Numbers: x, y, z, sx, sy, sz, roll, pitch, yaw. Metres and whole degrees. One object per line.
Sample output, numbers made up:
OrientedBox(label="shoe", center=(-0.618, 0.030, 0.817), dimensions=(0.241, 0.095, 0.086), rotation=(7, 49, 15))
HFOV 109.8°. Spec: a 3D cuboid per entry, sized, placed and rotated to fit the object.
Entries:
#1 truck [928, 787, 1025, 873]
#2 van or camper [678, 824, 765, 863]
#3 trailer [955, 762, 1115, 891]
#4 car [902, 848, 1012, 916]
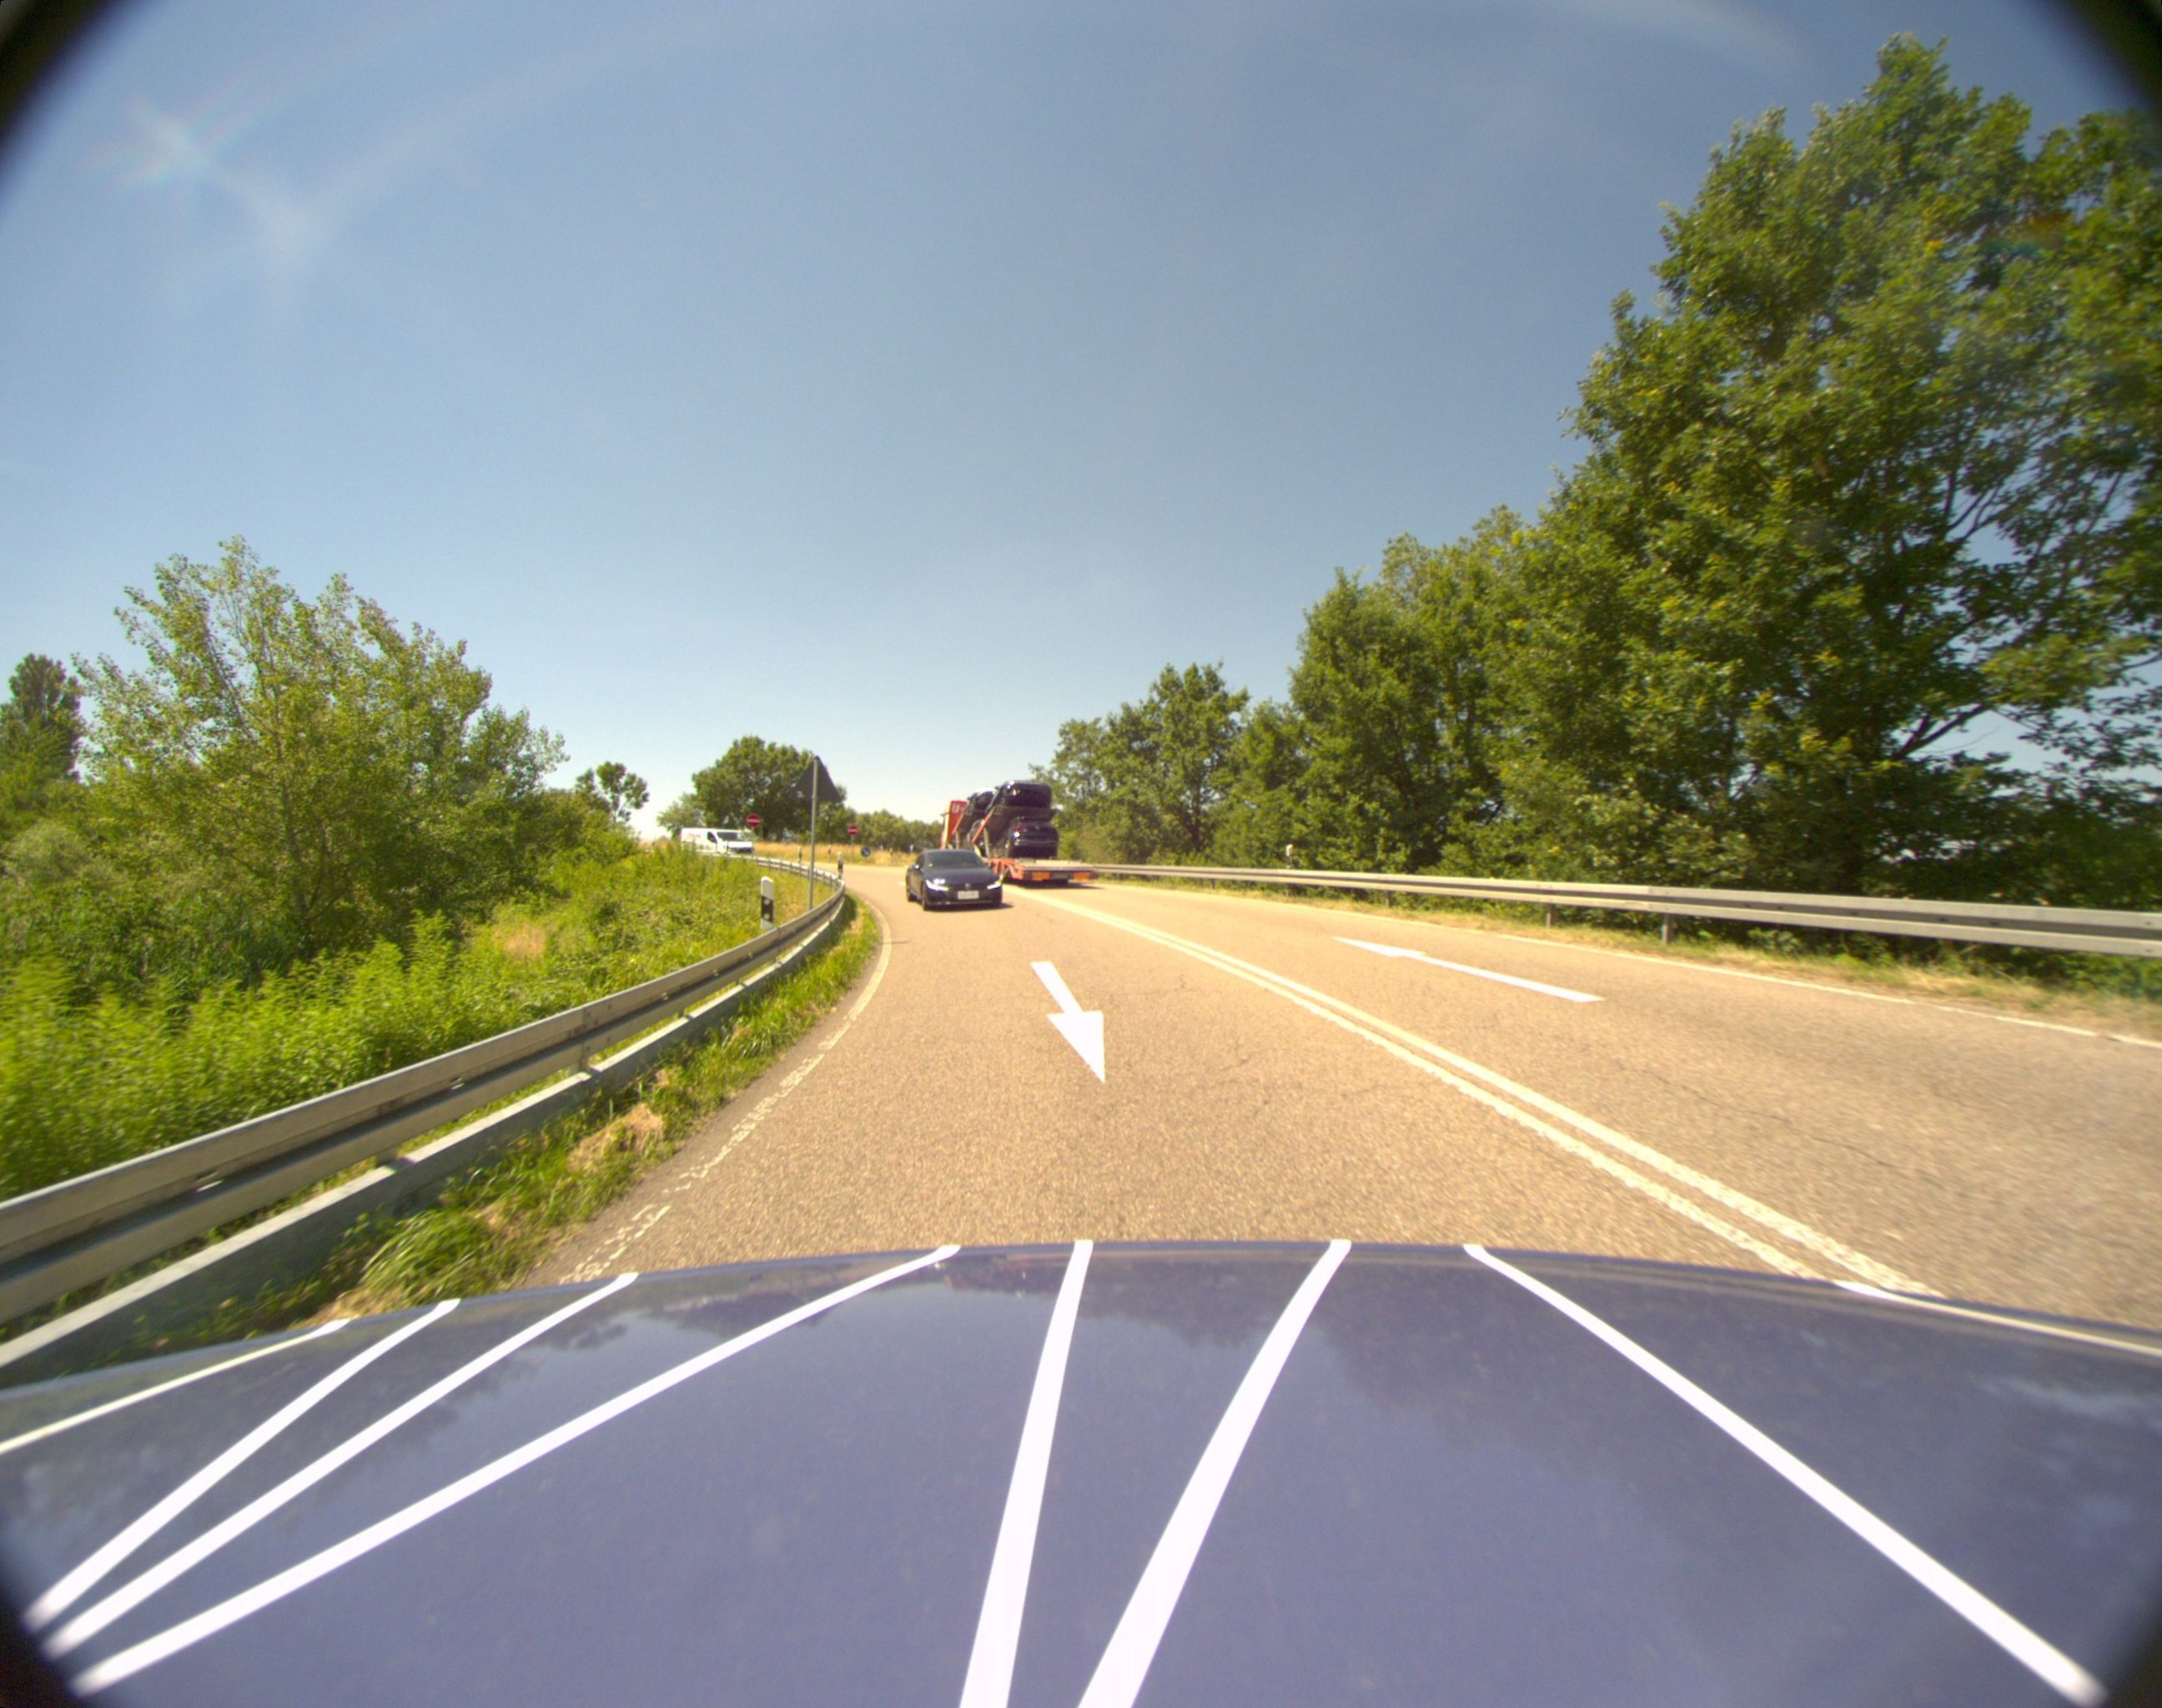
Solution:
OrientedBox(label="truck", center=(-5.562, -1.166, 38.878), dimensions=(2.801, 3.876, 8.762), rotation=(-2, 2, -22))
OrientedBox(label="van or camper", center=(-20.367, -0.563, 42.987), dimensions=(5.432, 2.020, 2.014), rotation=(-1, 2, 36))
OrientedBox(label="trailer", center=(-2.460, -0.975, 29.852), dimensions=(2.804, 3.876, 13.961), rotation=(-2, 2, -18))
OrientedBox(label="car", center=(-3.306, 0.607, 19.448), dimensions=(1.846, 1.422, 4.524), rotation=(-3, 2, -21))
